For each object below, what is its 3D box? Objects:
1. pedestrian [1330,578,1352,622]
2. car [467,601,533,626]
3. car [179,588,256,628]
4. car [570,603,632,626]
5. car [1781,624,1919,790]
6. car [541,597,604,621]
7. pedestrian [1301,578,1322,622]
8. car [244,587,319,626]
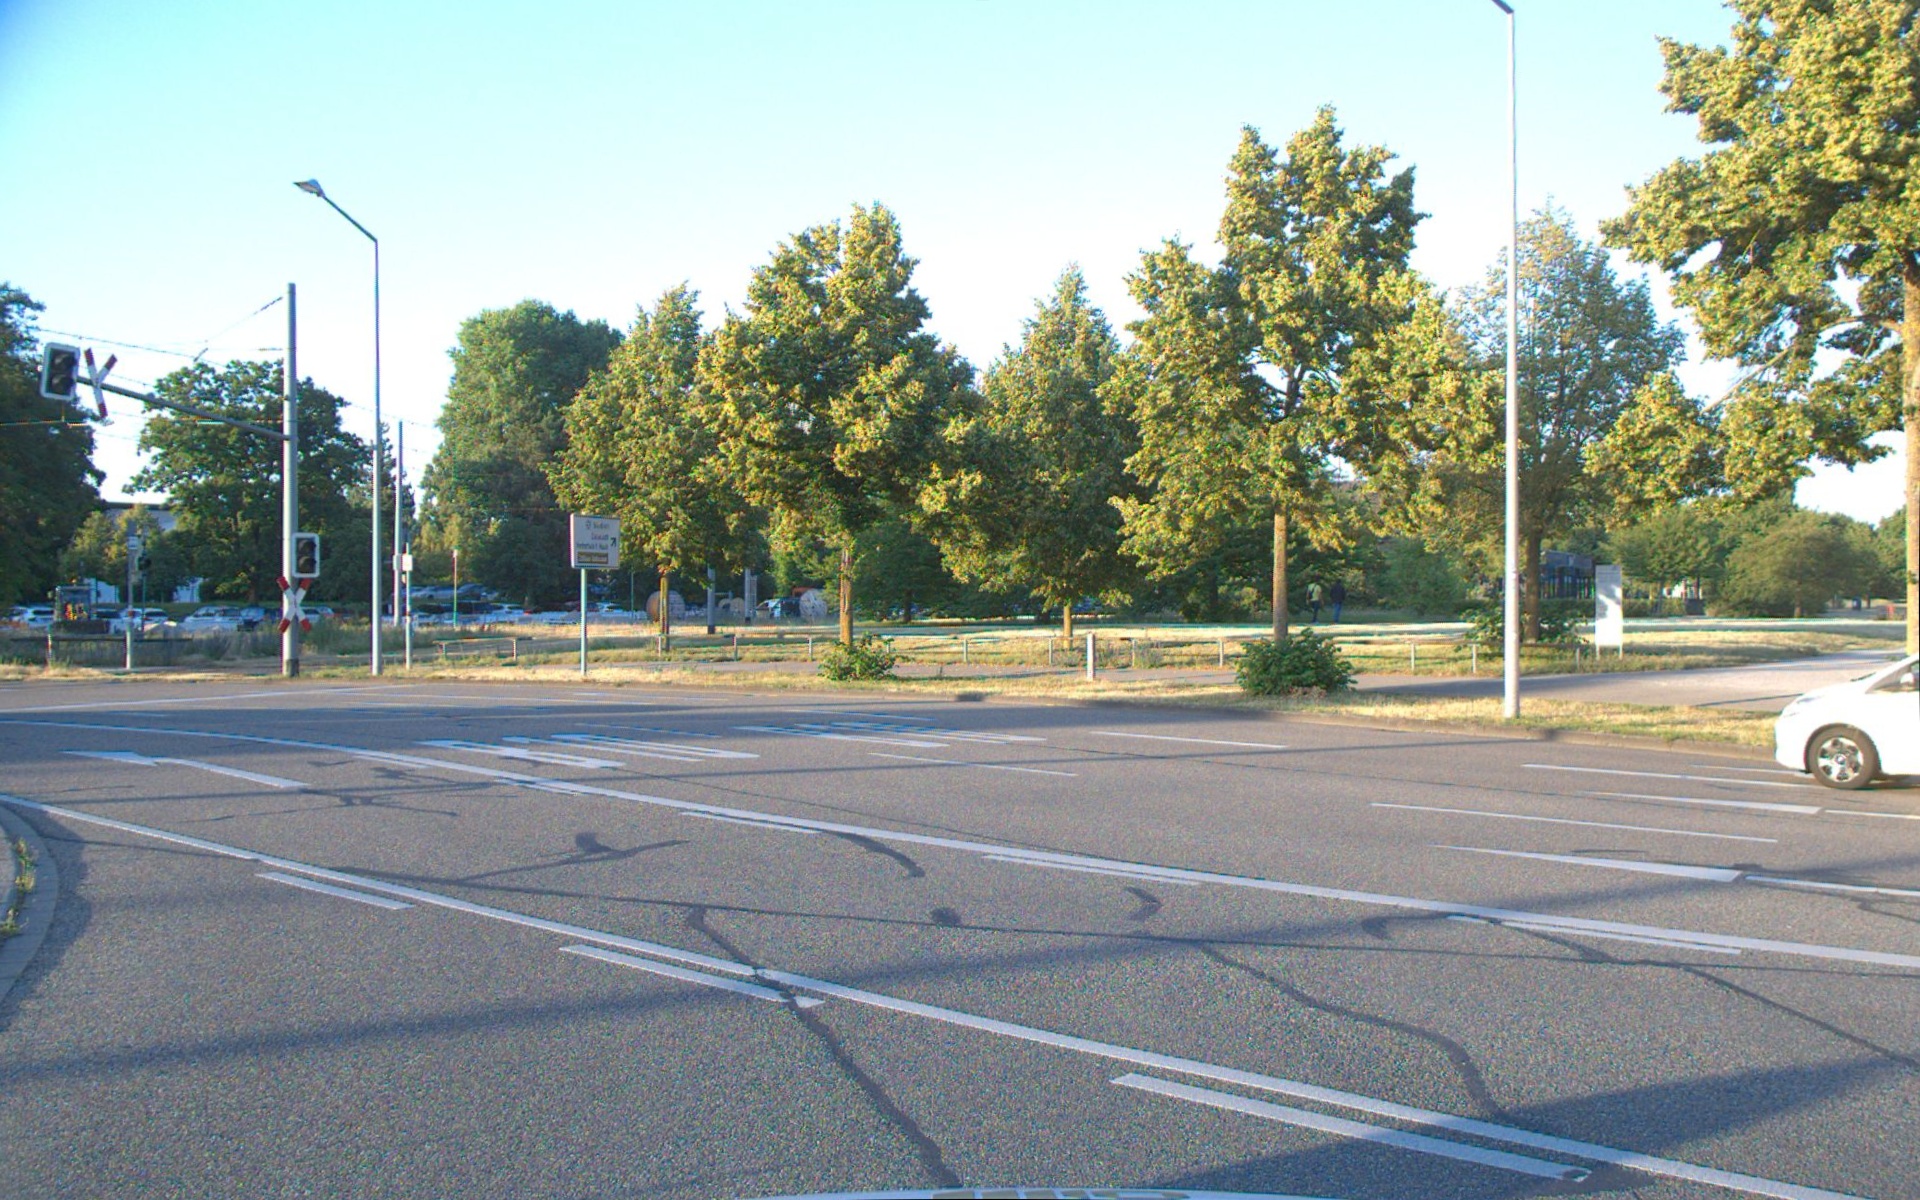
[{"bbox_3d":[14.346,0.005,62.339,0.612,1.655,0.525,0,0,-31],"label":"pedestrian"},{"bbox_3d":[-29.888,0.885,107.541,3.913,1.578,1.996,0,0,30],"label":"car"},{"bbox_3d":[-40.602,0.432,90.438,3.914,2.135,1.995,0,0,31],"label":"car"},{"bbox_3d":[-25.055,1.002,115.342,3.913,1.578,1.996,0,0,30],"label":"car"},{"bbox_3d":[9.456,0.957,14.881,3.427,1.468,1.543,0,-1,44],"label":"car"},{"bbox_3d":[-26.622,0.601,113.560,3.913,1.578,1.996,0,0,30],"label":"car"},{"bbox_3d":[13.278,-0.004,62.466,0.573,1.655,0.527,0,0,-32],"label":"pedestrian"},{"bbox_3d":[-38.455,0.353,93.702,3.914,2.135,1.995,0,0,31],"label":"car"}]
